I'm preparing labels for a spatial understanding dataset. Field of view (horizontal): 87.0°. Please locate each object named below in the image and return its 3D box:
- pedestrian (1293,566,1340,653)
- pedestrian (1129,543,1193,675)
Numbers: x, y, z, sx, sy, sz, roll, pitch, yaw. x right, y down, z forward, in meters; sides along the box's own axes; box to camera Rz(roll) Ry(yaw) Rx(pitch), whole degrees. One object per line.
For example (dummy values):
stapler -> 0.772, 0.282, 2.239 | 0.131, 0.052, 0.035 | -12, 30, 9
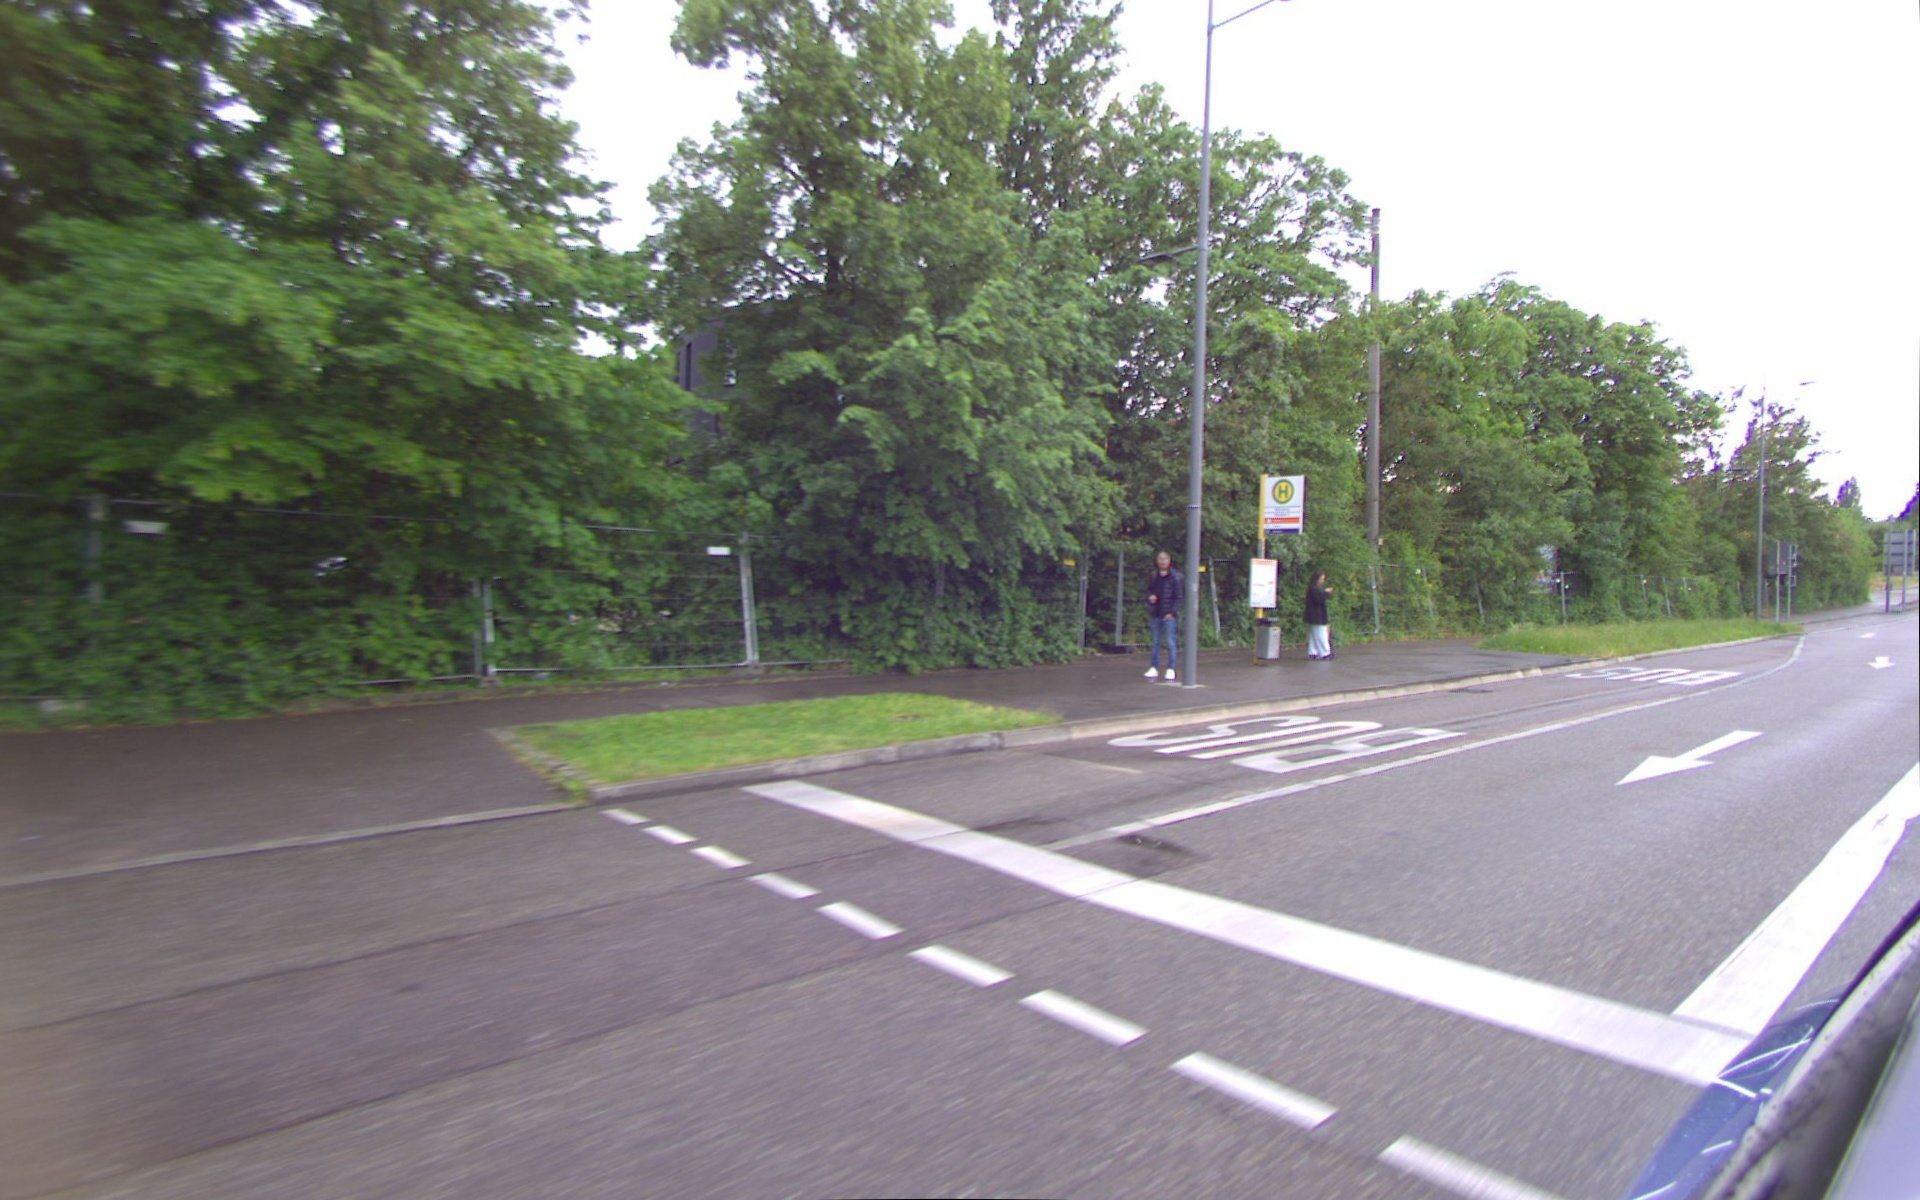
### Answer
pedestrian -> 6.863, 0.170, 19.481 | 0.650, 1.648, 0.588 | 0, 1, -40
pedestrian -> 3.088, 0.117, 15.553 | 0.587, 1.973, 0.742 | 0, 1, -40
